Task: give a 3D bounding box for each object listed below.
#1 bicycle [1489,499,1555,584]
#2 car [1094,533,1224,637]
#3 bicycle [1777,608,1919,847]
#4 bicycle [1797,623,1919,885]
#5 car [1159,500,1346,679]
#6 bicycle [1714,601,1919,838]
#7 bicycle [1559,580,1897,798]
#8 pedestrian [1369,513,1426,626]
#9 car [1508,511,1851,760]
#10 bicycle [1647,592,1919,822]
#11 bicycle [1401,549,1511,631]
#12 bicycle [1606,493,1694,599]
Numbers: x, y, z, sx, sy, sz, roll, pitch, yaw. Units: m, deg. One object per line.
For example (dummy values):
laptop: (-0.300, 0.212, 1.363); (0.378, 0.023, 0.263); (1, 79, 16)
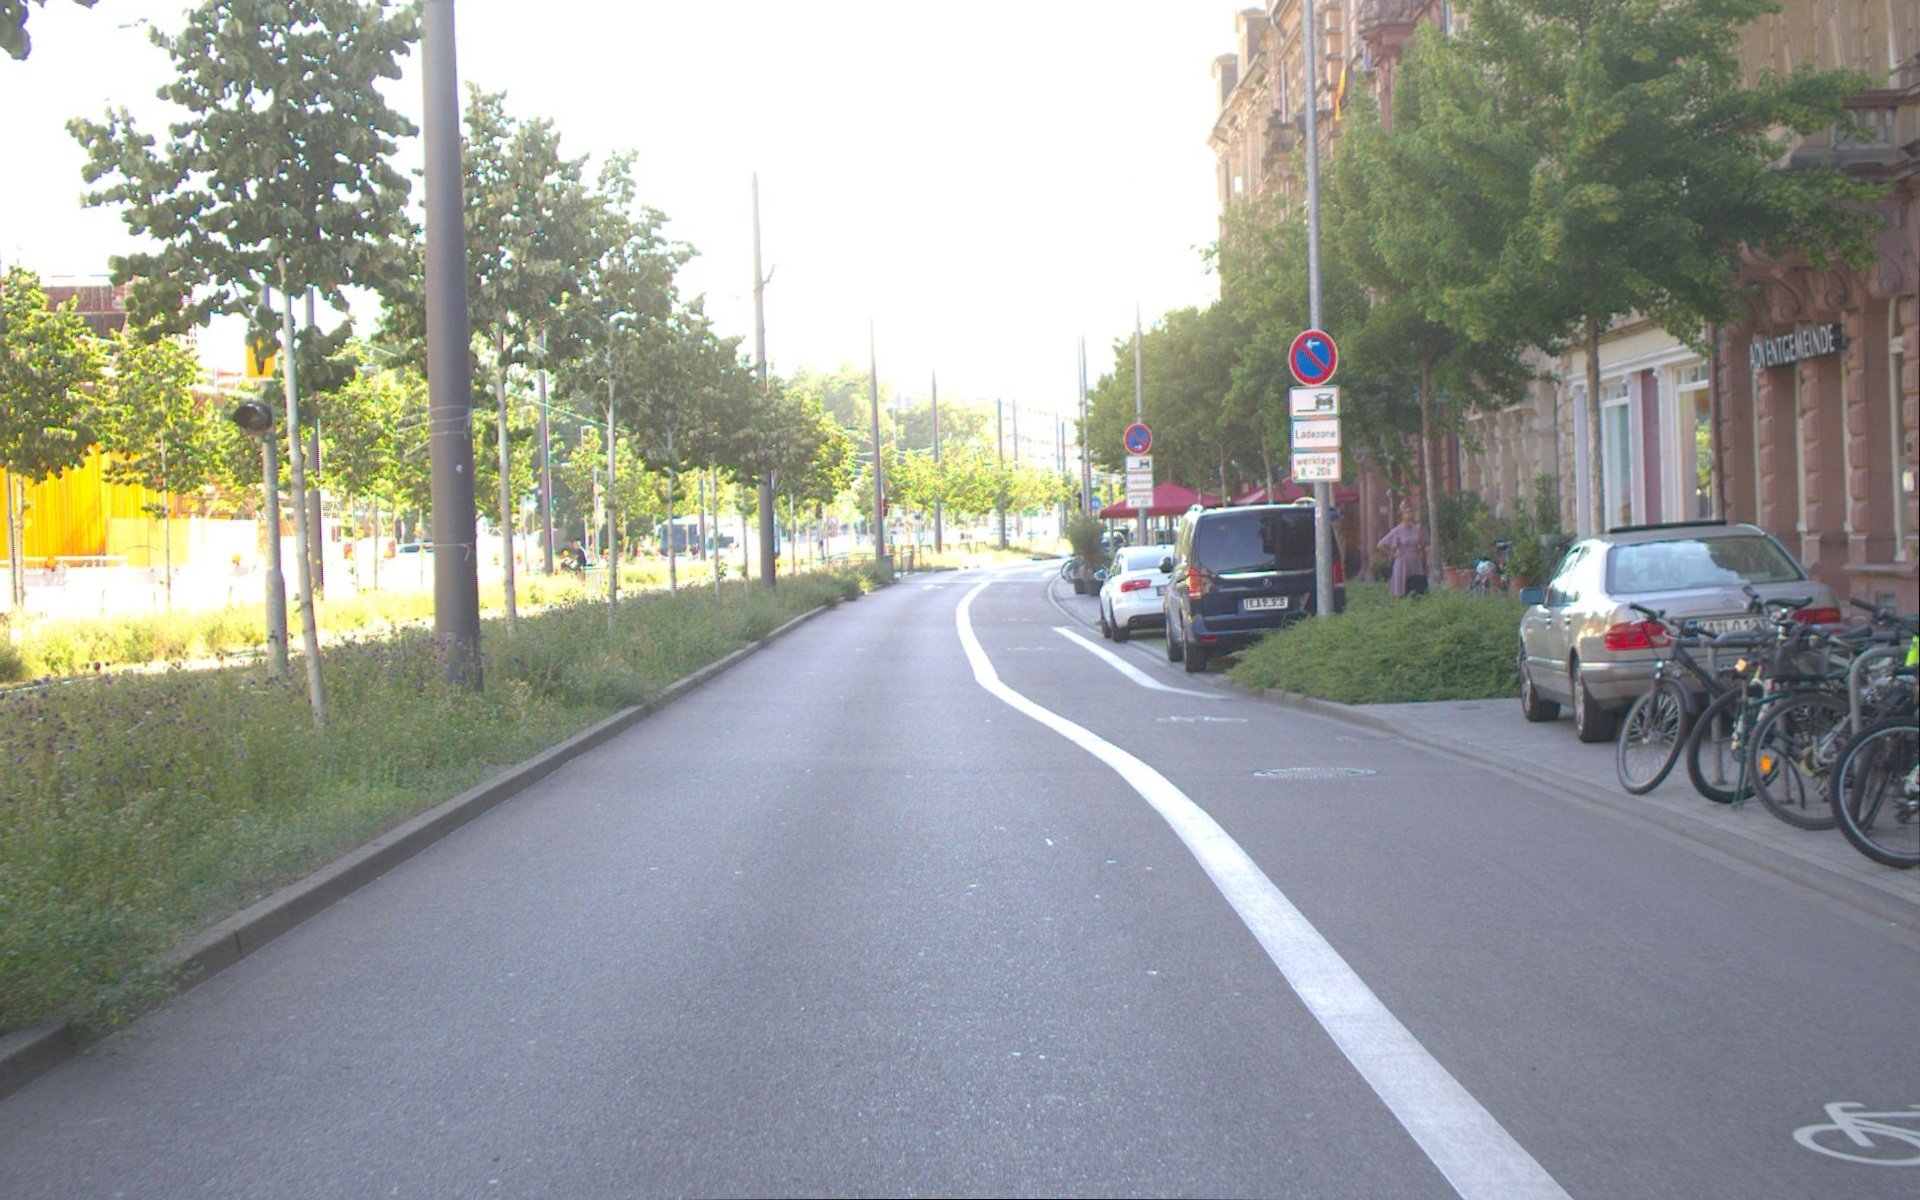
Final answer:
bicycle: (9.656, -1.021, 59.117); (0.661, 1.397, 2.352); (-2, 2, -1)
car: (3.121, -0.265, 54.524); (1.849, 1.452, 4.156); (-2, 2, 1)
bicycle: (4.754, 0.552, 16.085); (1.691, 1.044, 0.489); (-4, 1, -8)
bicycle: (4.442, 0.610, 14.659); (1.576, 1.044, 0.489); (-4, 1, -8)
car: (3.442, -0.178, 41.212); (1.885, 1.930, 4.473); (-2, 2, 1)
bicycle: (4.516, 0.548, 16.622); (1.576, 1.044, 0.489); (-4, 1, -8)
bicycle: (4.263, 0.486, 19.131); (1.691, 1.044, 0.489); (-5, 1, 0)
pedestrian: (5.716, -0.405, 44.955); (0.625, 1.455, 0.638); (-2, 1, 0)
car: (5.051, 0.181, 24.635); (1.637, 1.481, 4.212); (-4, 2, 2)
bicycle: (4.479, 0.533, 17.740); (1.691, 1.044, 0.489); (-5, 1, 0)
bicycle: (6.986, -0.160, 48.559); (1.081, 1.081, 2.770); (-1, 1, -1)
bicycle: (9.569, -0.771, 47.739); (0.661, 1.397, 2.352); (-2, 2, -1)
